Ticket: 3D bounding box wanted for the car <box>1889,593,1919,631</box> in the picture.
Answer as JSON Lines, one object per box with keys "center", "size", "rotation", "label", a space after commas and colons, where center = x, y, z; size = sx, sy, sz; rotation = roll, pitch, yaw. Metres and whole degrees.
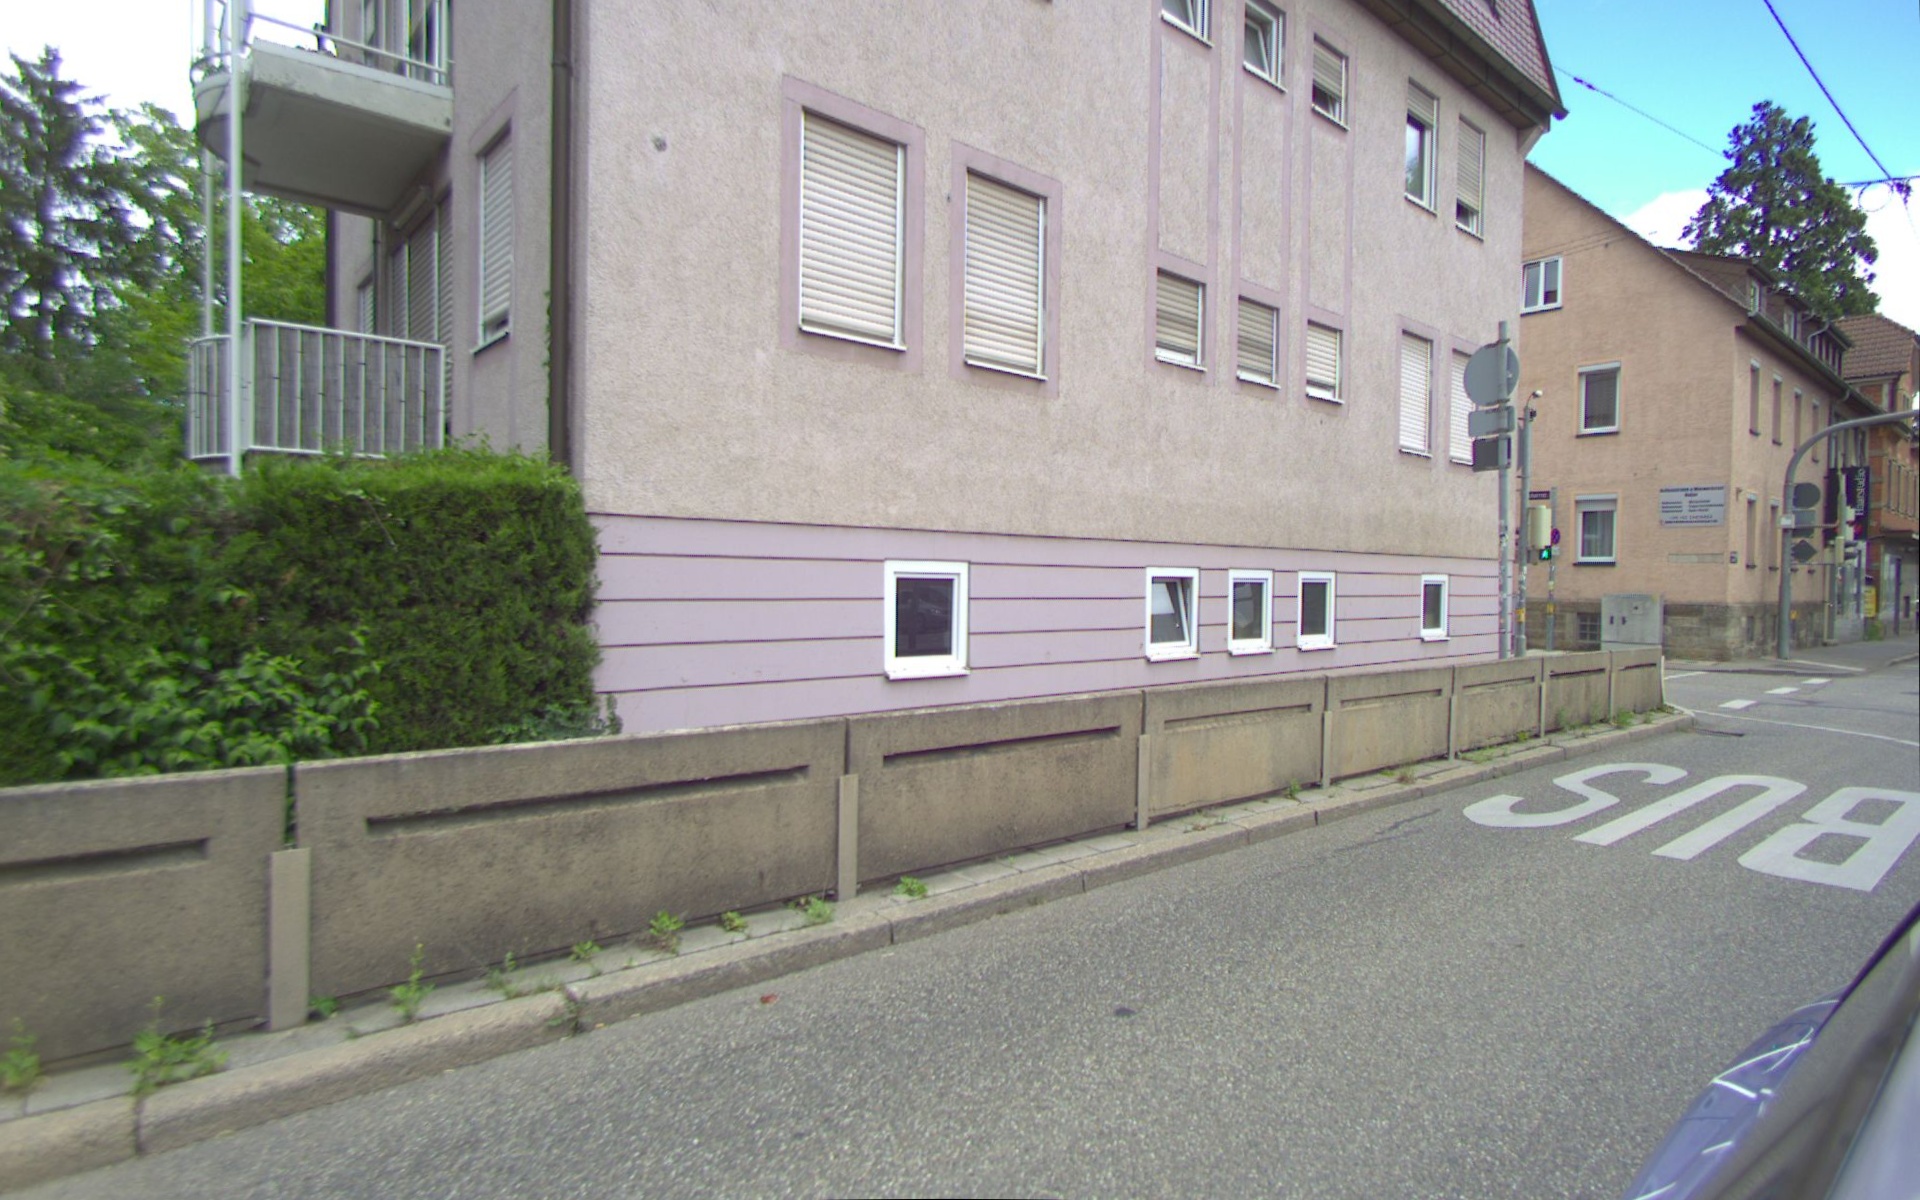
{"center": [44.232, 0.548, 45.145], "size": [1.808, 1.705, 3.990], "rotation": [0, 0, -43], "label": "car"}
